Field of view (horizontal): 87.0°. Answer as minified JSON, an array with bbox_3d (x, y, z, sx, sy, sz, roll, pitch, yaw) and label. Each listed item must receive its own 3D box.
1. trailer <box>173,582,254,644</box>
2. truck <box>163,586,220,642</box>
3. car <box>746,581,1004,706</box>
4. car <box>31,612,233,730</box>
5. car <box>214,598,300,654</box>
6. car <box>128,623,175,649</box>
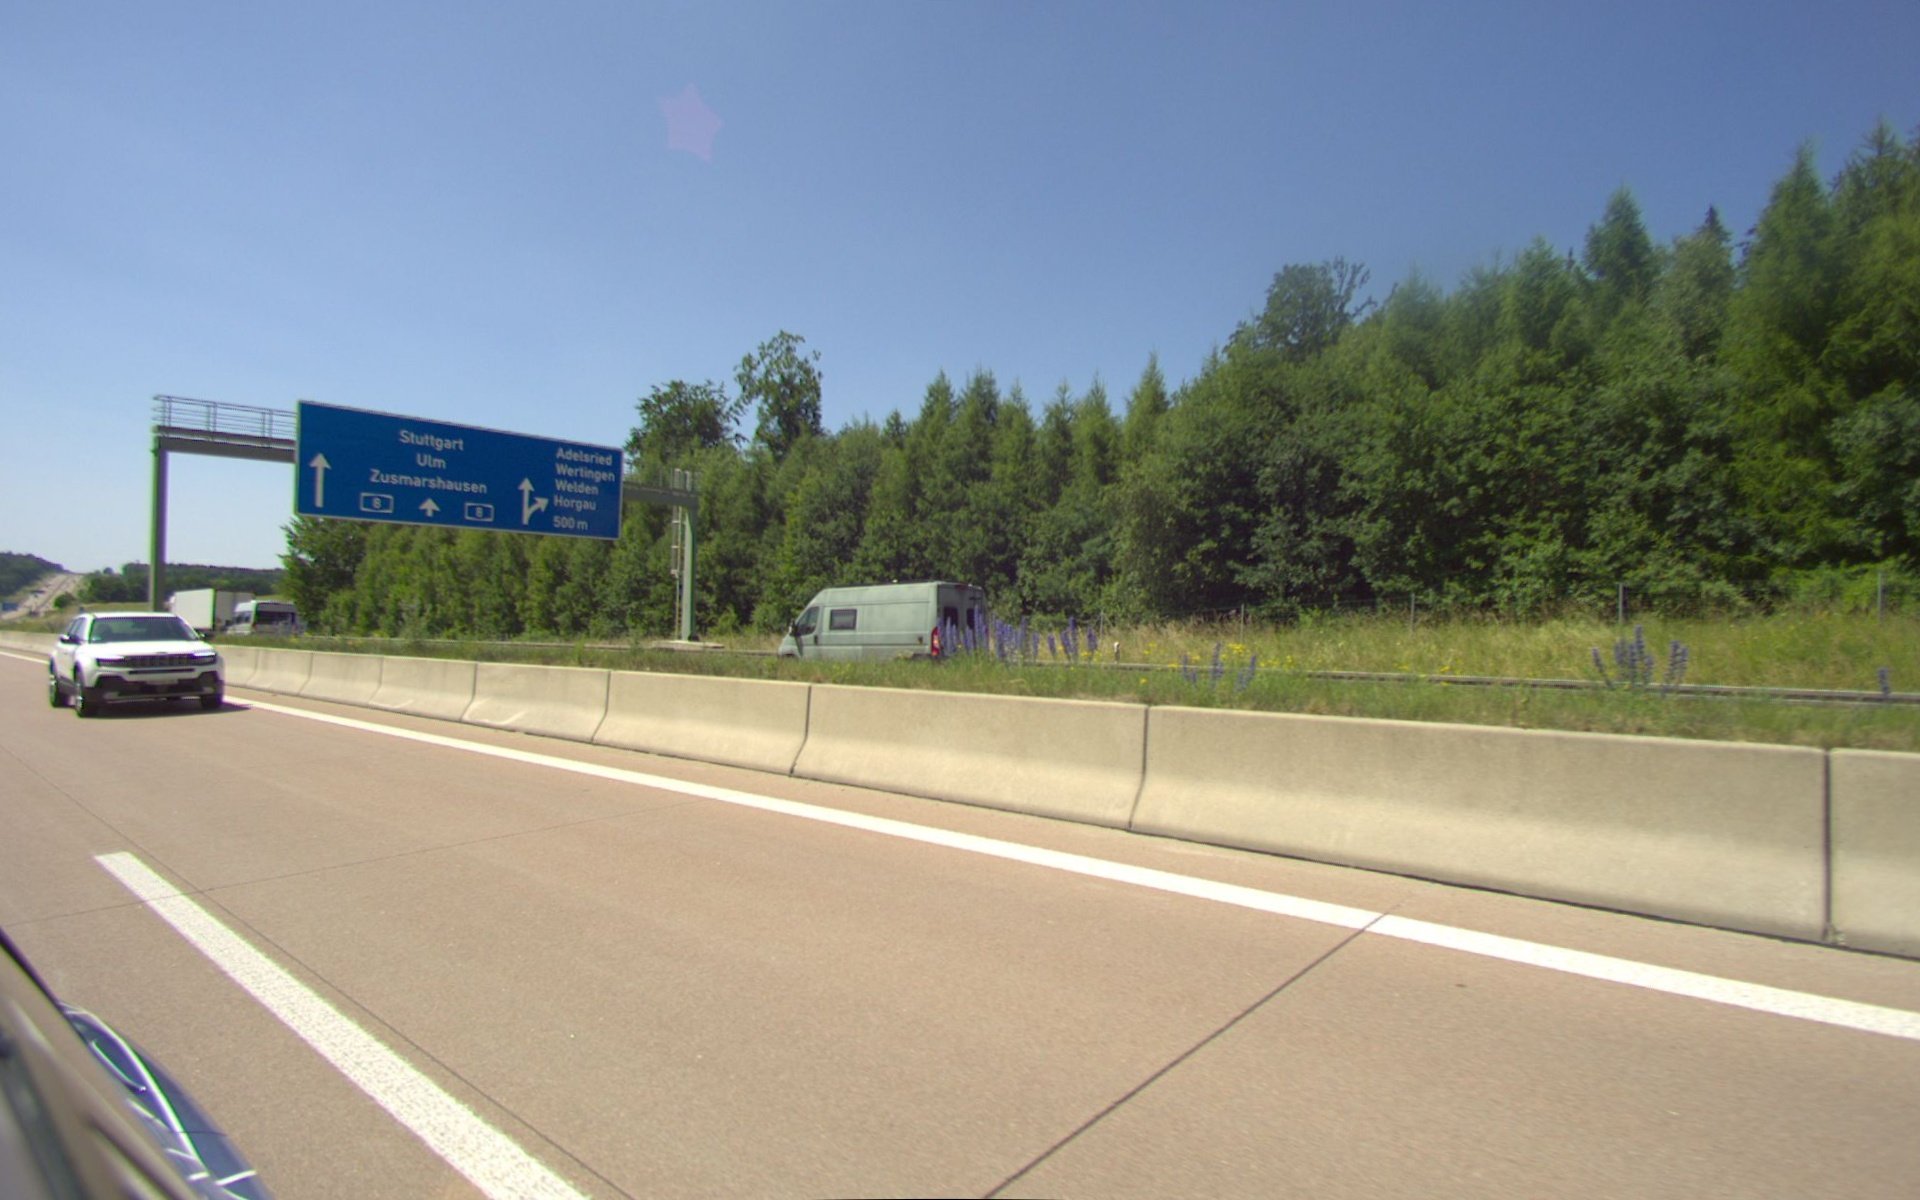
[{"bbox_3d":[-58.105,1.068,78.566,13.191,4.468,2.673,-2,-1,43],"label":"trailer"},{"bbox_3d":[-63.421,1.198,83.509,6.477,4.414,2.674,-2,-2,43],"label":"truck"},{"bbox_3d":[-2.291,1.018,25.165,6.883,2.706,2.210,-1,-1,40],"label":"car"},{"bbox_3d":[-13.452,1.026,16.331,4.833,1.619,1.859,-1,-1,43],"label":"car"},{"bbox_3d":[-35.933,1.326,51.656,6.094,2.706,2.210,-1,-1,41],"label":"car"},{"bbox_3d":[-55.794,2.463,69.807,3.998,1.667,1.871,-1,-1,41],"label":"car"}]
